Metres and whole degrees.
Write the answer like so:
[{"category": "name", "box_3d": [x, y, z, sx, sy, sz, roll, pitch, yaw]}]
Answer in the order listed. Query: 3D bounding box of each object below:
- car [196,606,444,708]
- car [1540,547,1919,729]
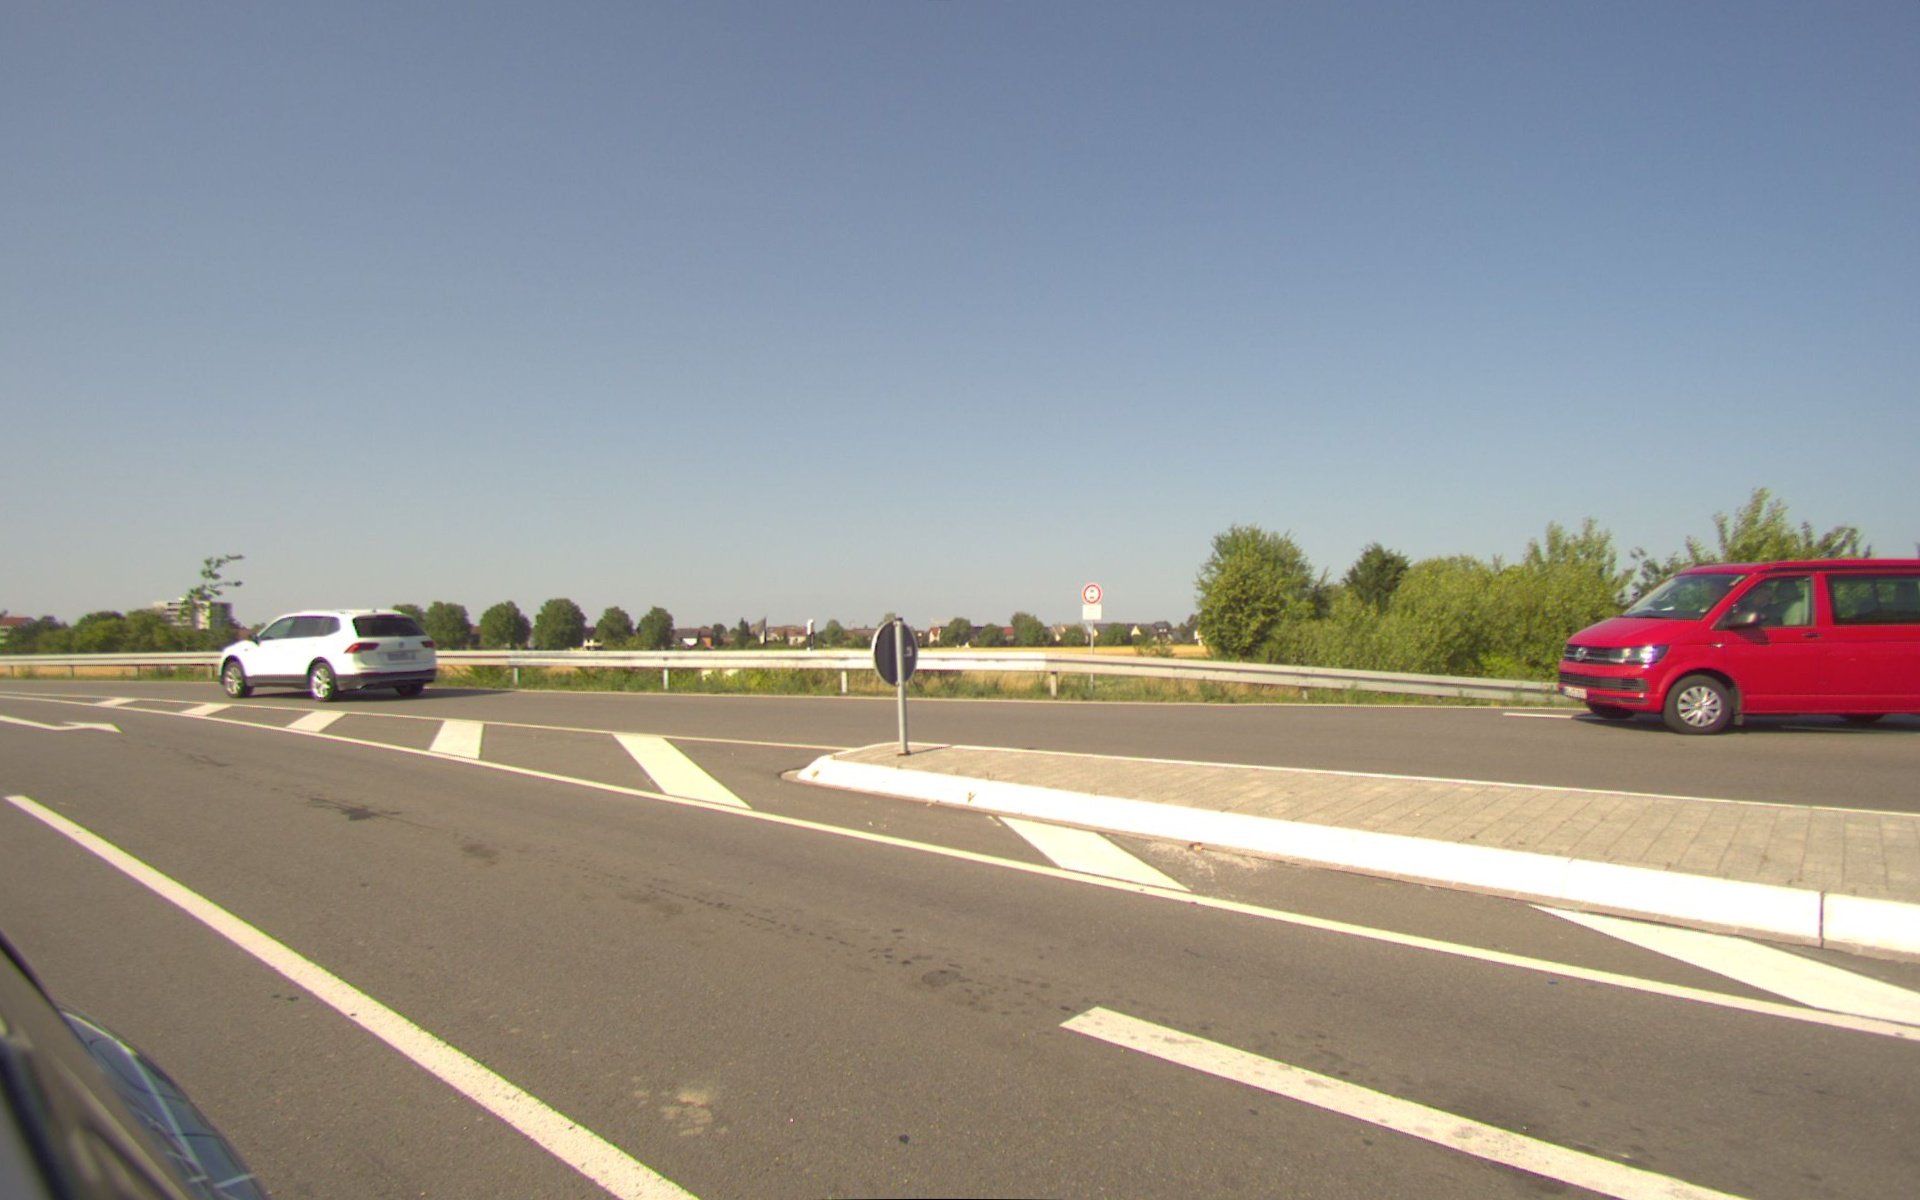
[{"category": "car", "box_3d": [-12.082, 0.986, 19.049, 4.838, 1.686, 1.682, 0, -1, 26]}, {"category": "car", "box_3d": [9.807, 0.428, 11.844, 4.865, 1.955, 1.836, 0, -2, 6]}]
